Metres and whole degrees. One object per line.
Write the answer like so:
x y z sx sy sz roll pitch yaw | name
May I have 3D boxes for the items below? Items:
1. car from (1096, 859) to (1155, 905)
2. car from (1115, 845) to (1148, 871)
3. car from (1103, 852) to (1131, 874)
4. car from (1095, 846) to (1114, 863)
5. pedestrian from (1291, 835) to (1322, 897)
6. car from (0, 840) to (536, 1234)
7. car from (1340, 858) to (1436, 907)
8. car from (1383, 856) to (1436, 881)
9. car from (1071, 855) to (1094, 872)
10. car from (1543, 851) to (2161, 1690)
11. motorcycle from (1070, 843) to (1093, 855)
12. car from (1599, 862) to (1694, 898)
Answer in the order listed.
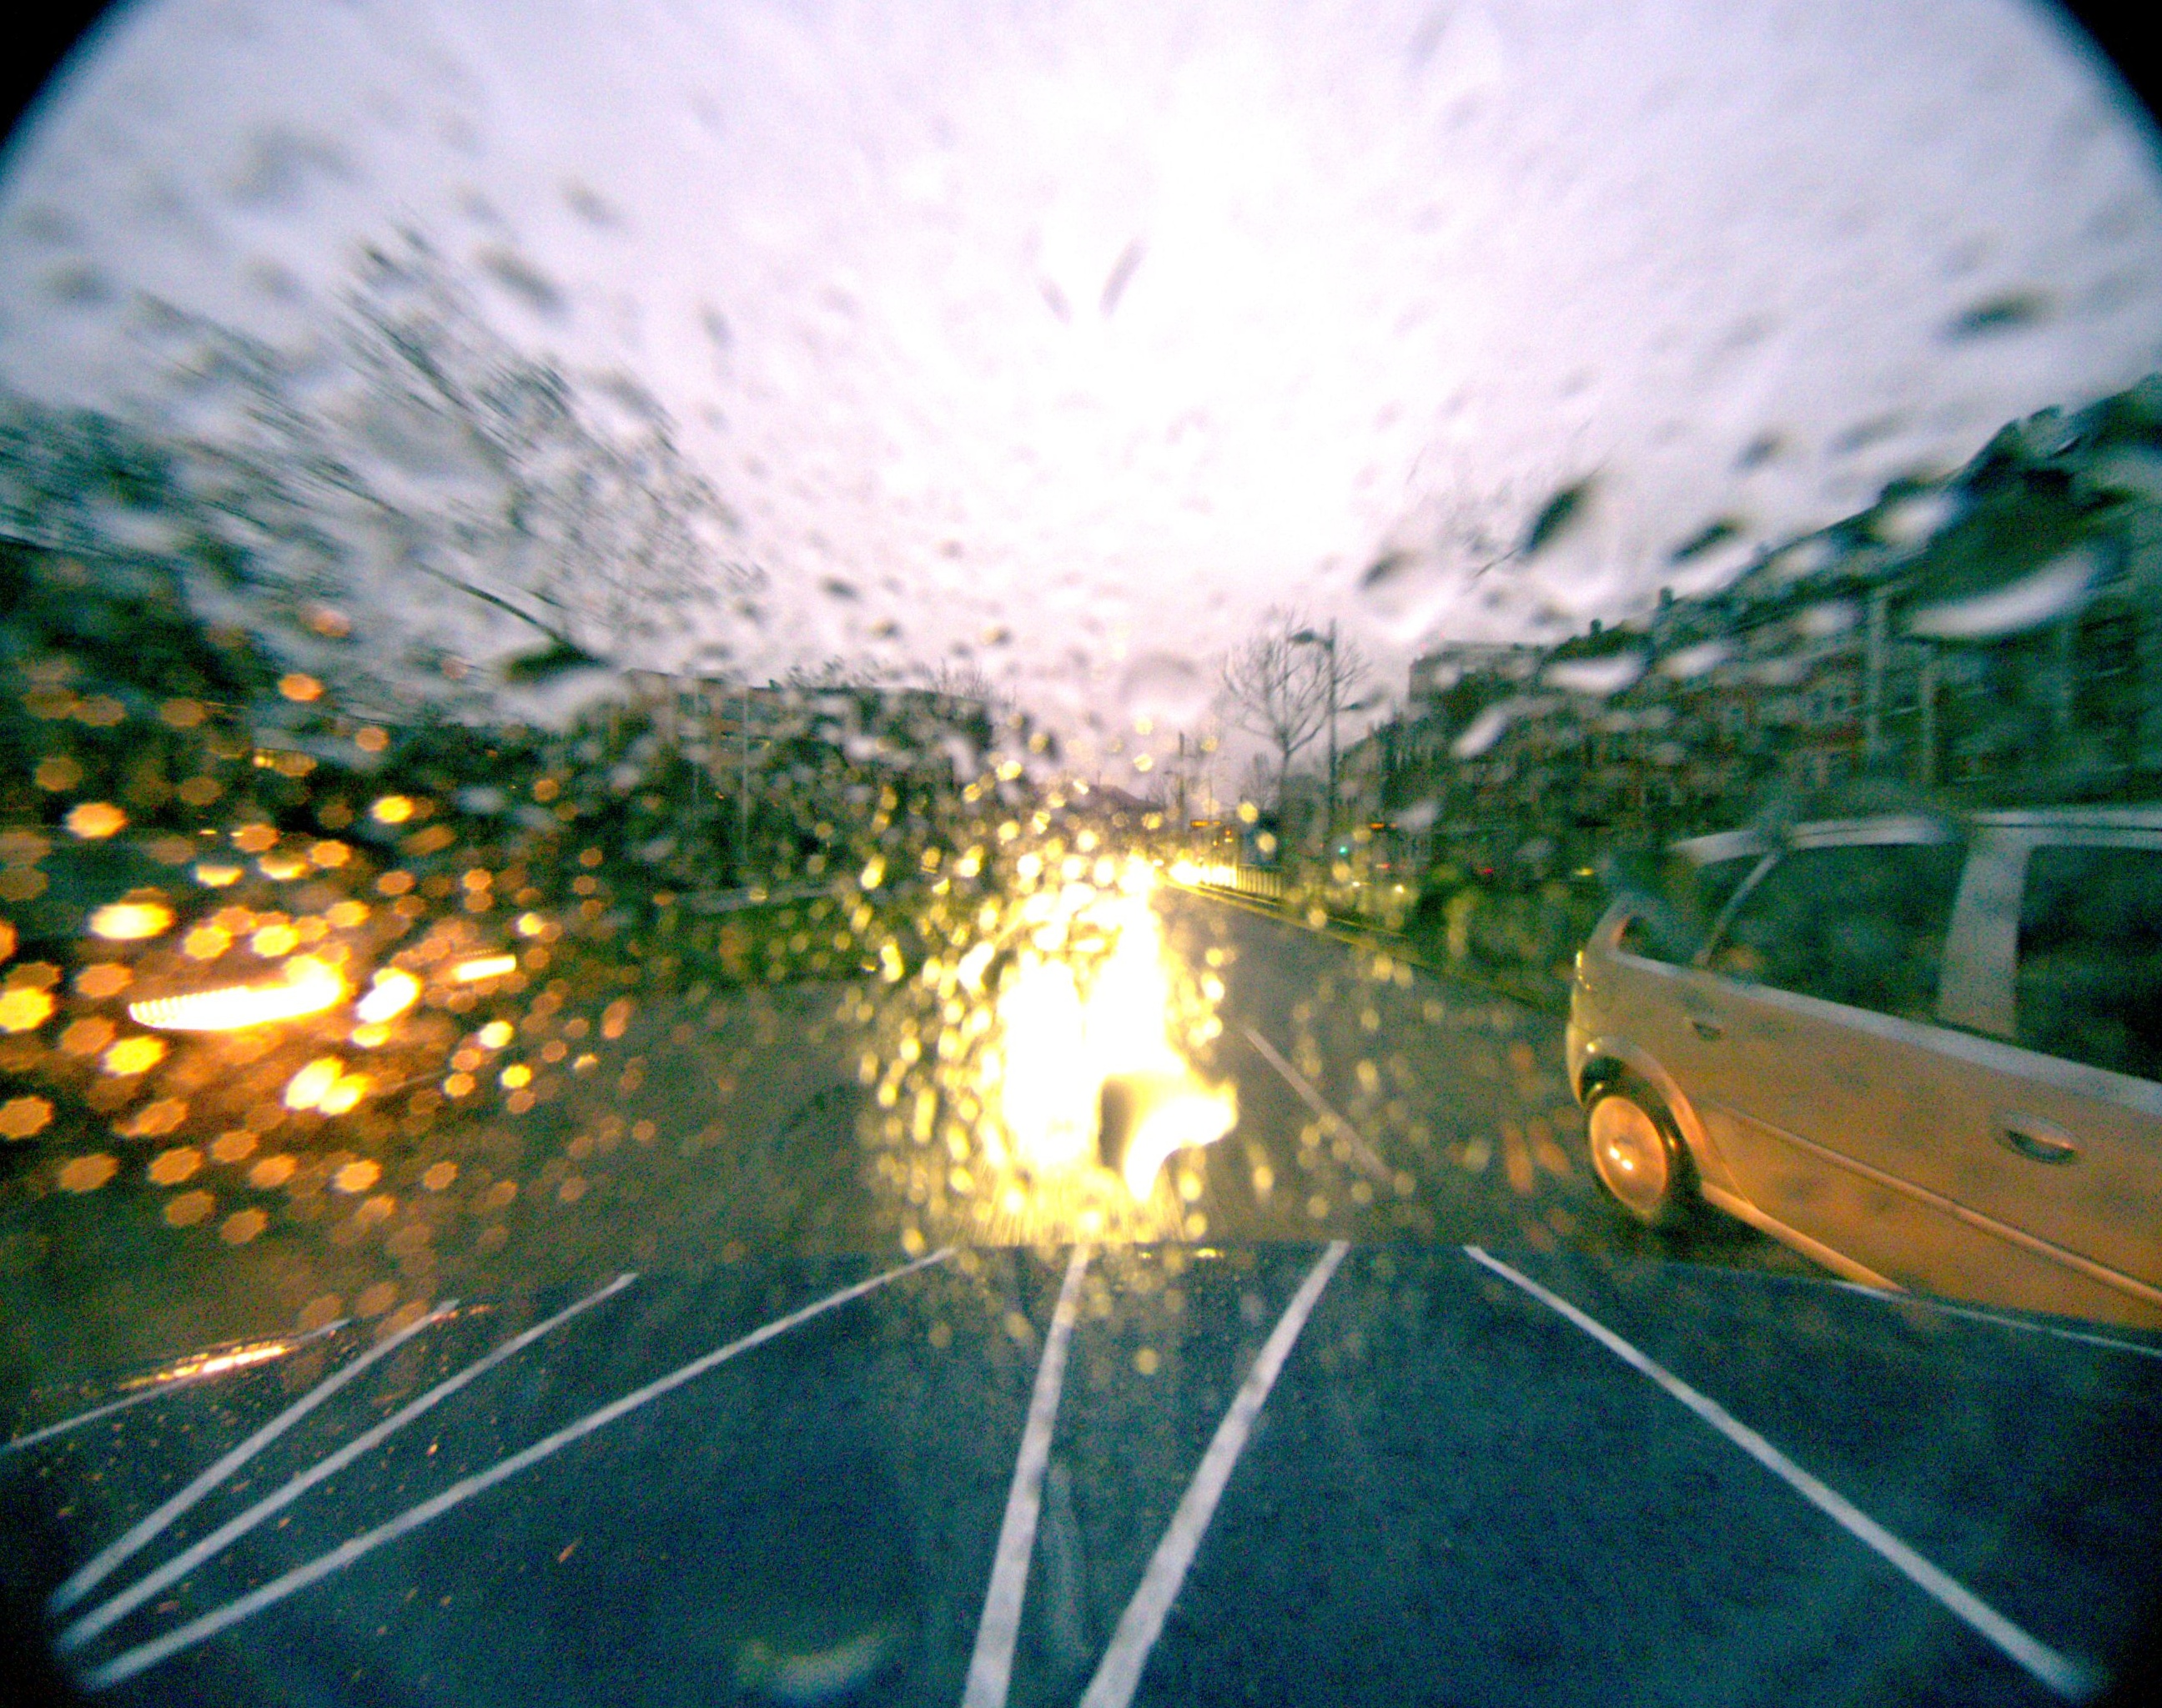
1.449 0.882 25.889 1.813 1.384 4.053 -1 0 1 | car
3.153 0.239 47.917 1.813 1.487 4.053 -1 0 1 | car
2.434 0.575 52.156 1.813 1.384 4.053 -1 0 1 | car
2.659 0.057 84.236 1.998 1.797 4.001 1 0 3 | car
7.536 0.402 25.445 0.876 2.002 0.931 2 1 12 | pedestrian
-5.504 0.725 4.023 3.996 1.546 1.742 1 1 2 | car
10.313 0.893 25.878 1.667 1.477 4.000 1 0 1 | car
21.647 0.909 50.230 1.683 1.525 3.748 1 0 -3 | car
0.156 0.800 64.649 1.813 1.384 4.053 -1 0 1 | car
2.982 0.806 1.446 1.813 1.591 4.054 -1 0 2 | car
0.055 -0.883 135.589 3.997 2.002 0.926 -2 1 1 | motorcycle
24.429 1.098 32.939 1.682 1.399 3.259 1 0 1 | car
